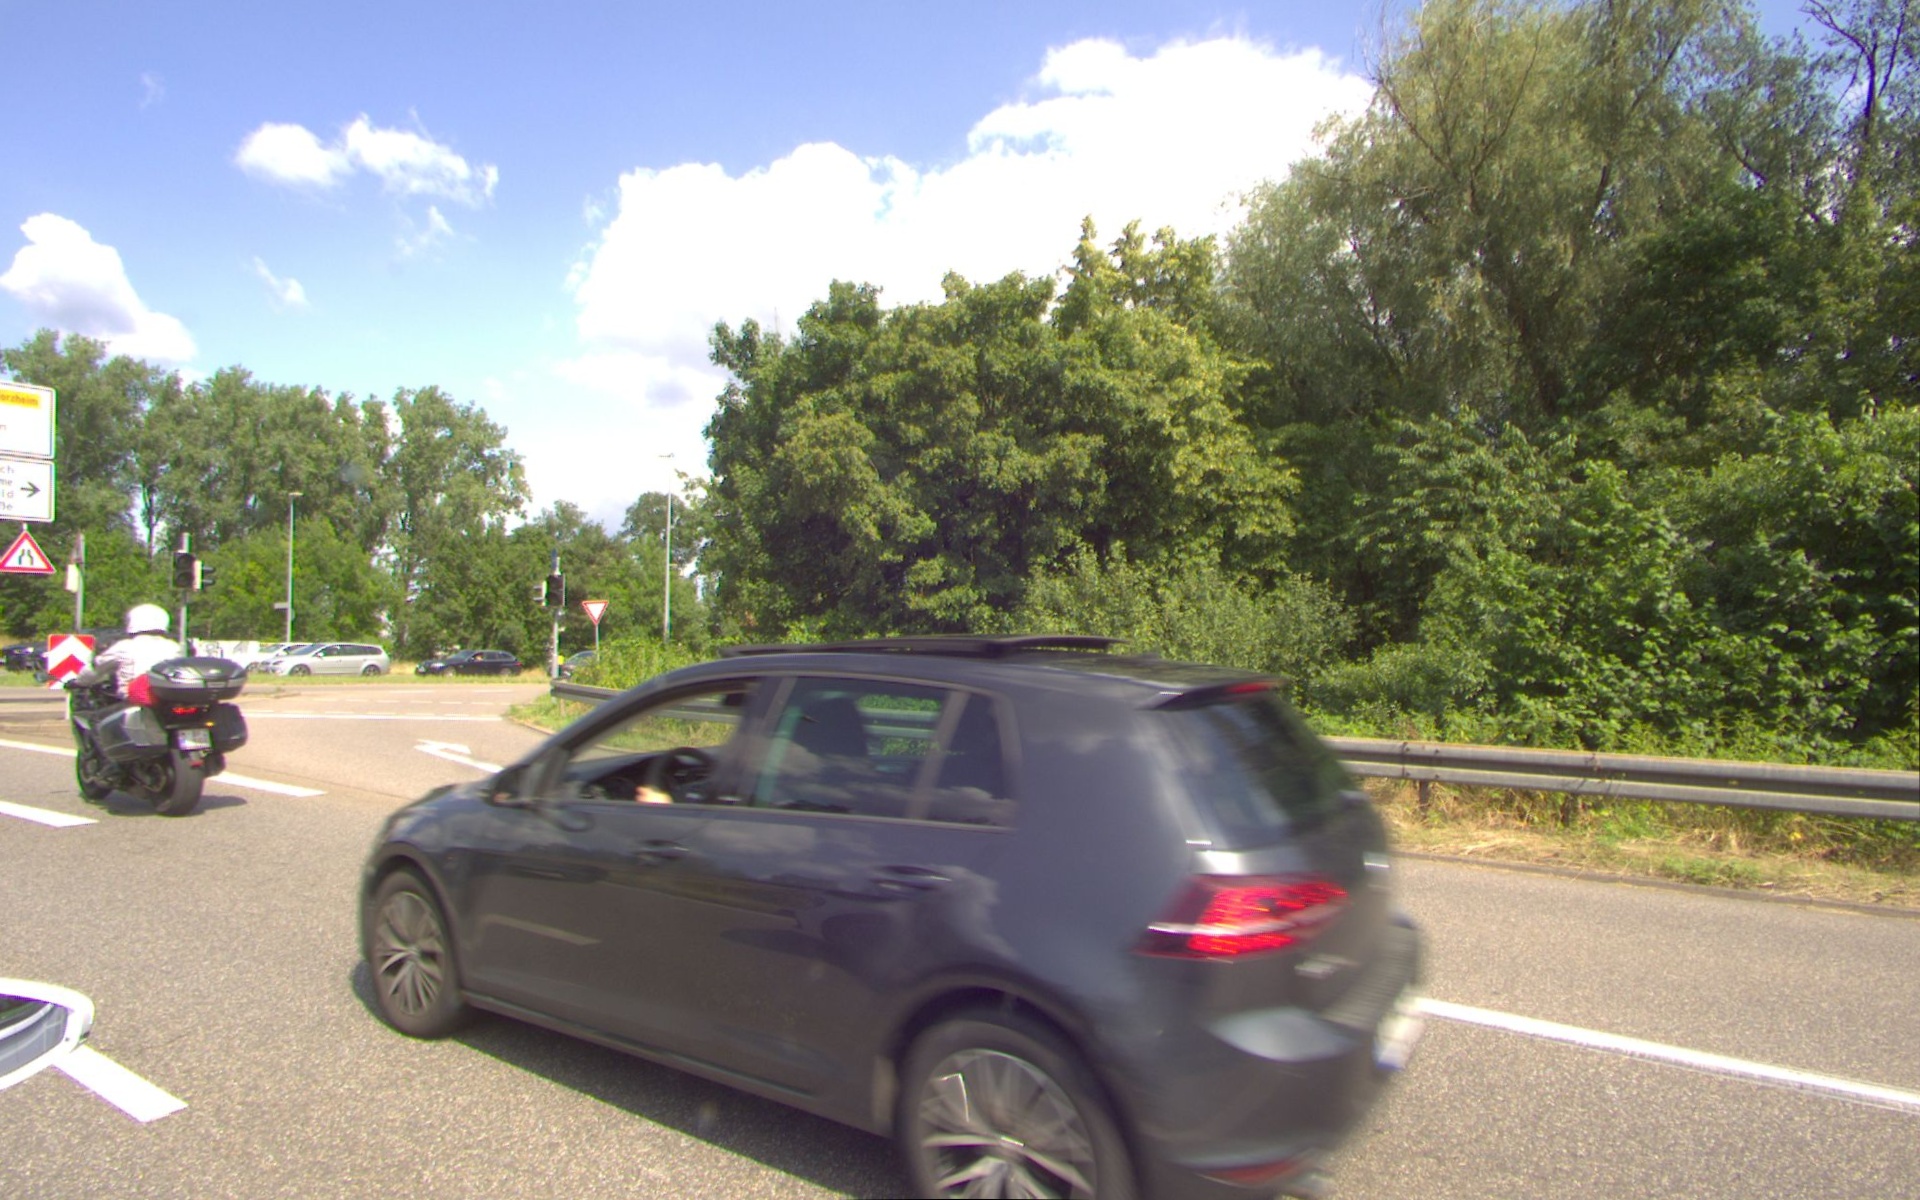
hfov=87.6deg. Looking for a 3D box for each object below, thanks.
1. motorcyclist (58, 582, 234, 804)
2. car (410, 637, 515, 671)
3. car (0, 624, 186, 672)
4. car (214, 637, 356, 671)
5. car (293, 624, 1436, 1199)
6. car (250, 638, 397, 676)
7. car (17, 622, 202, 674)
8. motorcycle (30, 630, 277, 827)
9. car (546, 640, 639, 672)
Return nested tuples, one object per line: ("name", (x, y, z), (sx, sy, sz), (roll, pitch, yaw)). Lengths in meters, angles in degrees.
("motorcyclist", (-6.776, 0.737, 8.356), (0.881, 1.722, 0.864), (0, -2, 32))
("car", (-23.547, 2.558, 47.571), (1.710, 1.495, 4.222), (0, -3, 29))
("car", (-30.418, 1.694, 35.168), (1.711, 1.564, 4.842), (0, -3, 31))
("car", (-27.296, 2.192, 40.634), (1.710, 1.297, 4.491), (0, -3, 29))
("car", (-0.548, 0.862, 3.691), (3.990, 1.495, 1.728), (-1, -3, 33))
("car", (-24.203, 2.153, 38.266), (1.710, 1.337, 4.471), (0, -3, 29))
("car", (-27.553, 1.562, 32.590), (1.711, 1.564, 4.264), (0, -3, 31))
("motorcycle", (-6.727, 0.978, 8.313), (2.336, 1.406, 0.864), (0, -2, 32))
("car", (-18.125, 2.757, 49.574), (1.710, 1.495, 4.222), (0, -3, 29))
